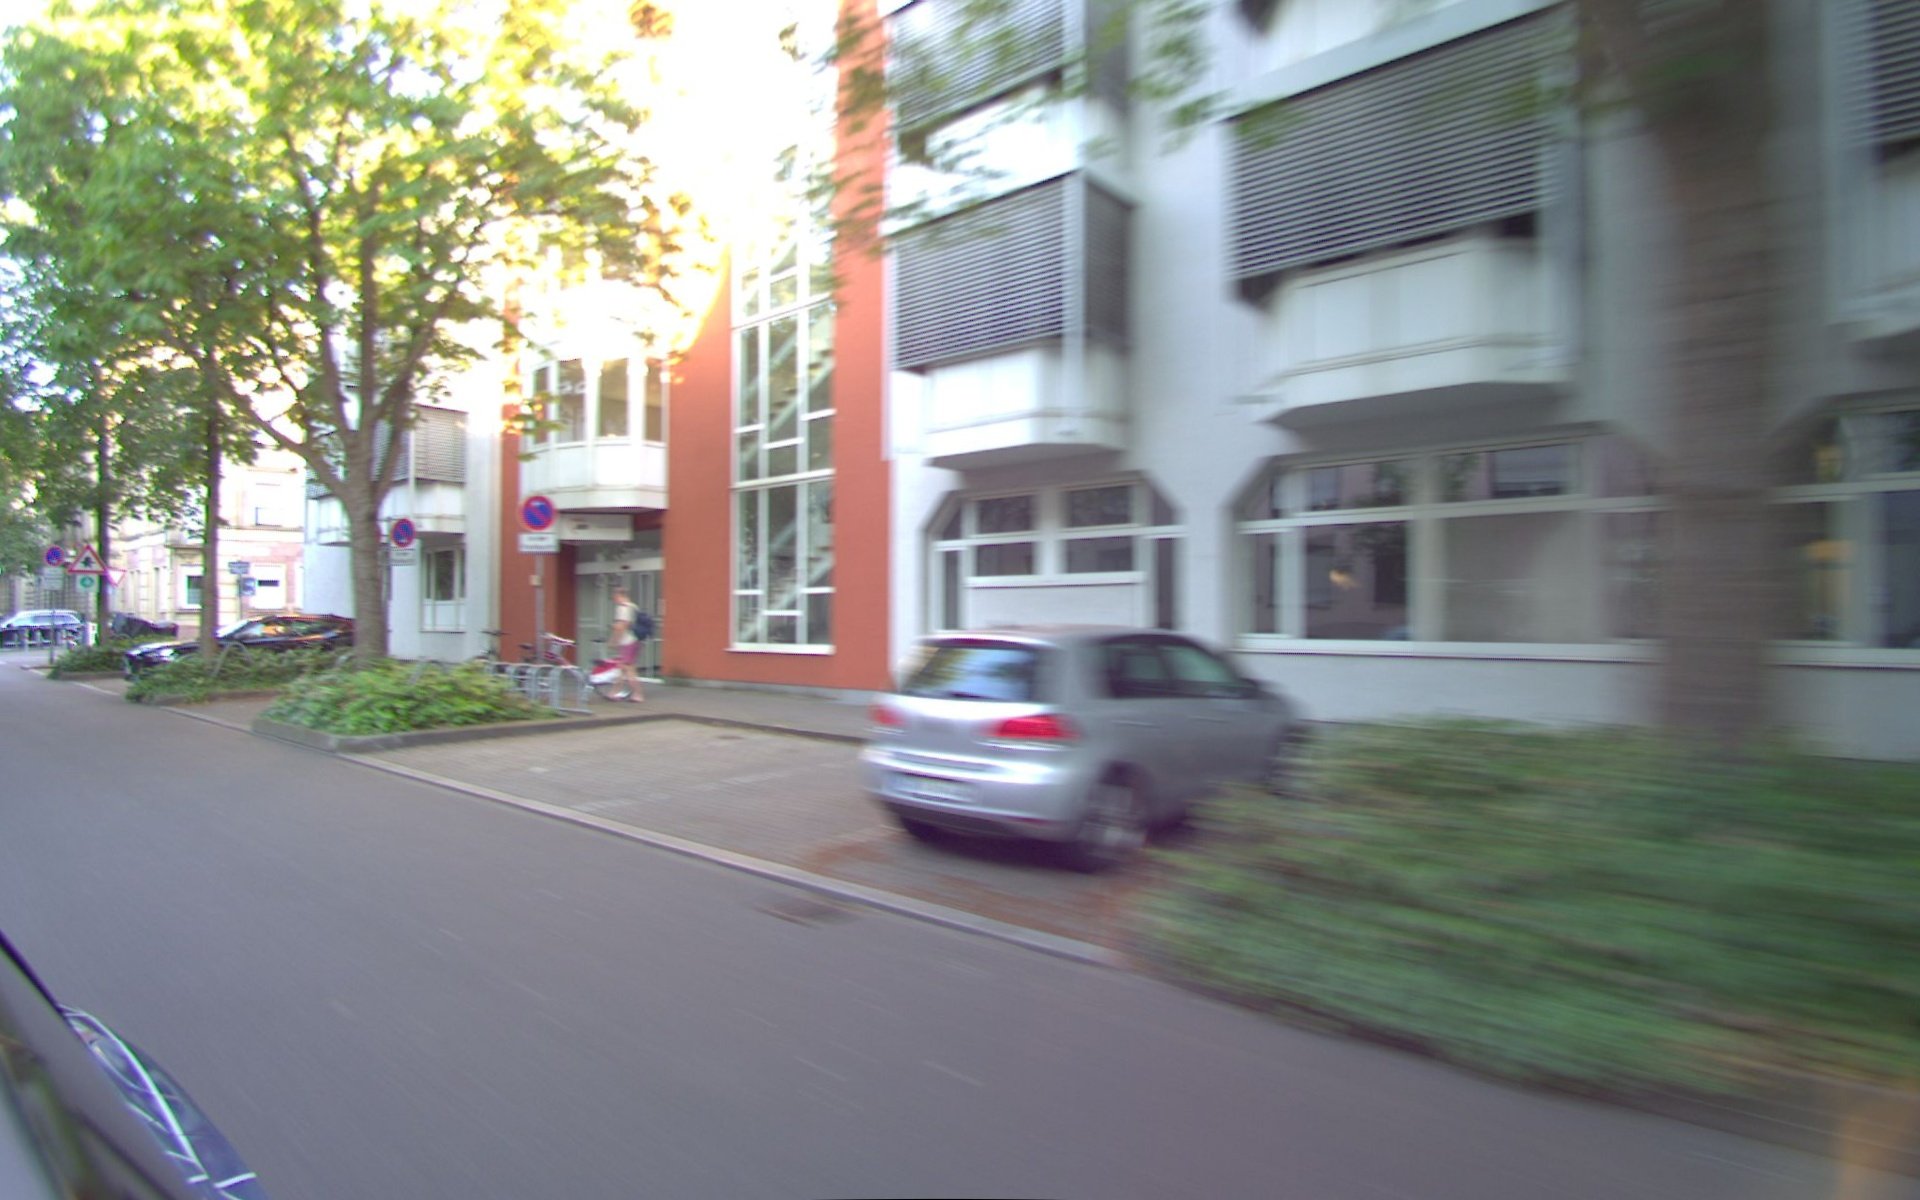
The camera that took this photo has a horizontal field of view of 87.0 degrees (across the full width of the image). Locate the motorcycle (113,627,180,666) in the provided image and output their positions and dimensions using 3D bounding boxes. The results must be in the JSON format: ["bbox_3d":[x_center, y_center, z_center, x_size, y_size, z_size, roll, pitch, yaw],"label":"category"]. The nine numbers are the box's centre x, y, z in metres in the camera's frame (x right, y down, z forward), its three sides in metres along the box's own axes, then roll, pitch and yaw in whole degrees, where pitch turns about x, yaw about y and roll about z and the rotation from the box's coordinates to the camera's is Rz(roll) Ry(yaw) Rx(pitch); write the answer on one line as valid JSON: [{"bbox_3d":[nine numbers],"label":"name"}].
[{"bbox_3d":[-25.796,1.460,32.105,0.572,1.151,1.605,-1,0,43],"label":"motorcycle"}]

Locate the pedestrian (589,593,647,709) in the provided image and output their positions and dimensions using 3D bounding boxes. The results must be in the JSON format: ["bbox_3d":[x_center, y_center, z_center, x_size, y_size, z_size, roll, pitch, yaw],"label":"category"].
[{"bbox_3d":[-5.339,0.788,15.797,0.628,1.758,0.680,1,-2,-40],"label":"pedestrian"}]

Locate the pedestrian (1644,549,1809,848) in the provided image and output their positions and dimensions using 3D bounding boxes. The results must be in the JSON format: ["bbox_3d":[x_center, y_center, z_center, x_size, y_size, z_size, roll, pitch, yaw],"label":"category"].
[{"bbox_3d":[5.692,0.680,7.511,0.839,2.029,0.930,-2,-2,44],"label":"pedestrian"}]

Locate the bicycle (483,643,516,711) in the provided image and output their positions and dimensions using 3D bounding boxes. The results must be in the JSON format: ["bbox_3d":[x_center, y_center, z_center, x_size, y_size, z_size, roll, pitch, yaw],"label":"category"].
[{"bbox_3d":[-7.413,1.213,16.286,0.448,0.995,1.761,1,-2,-25],"label":"bicycle"}]

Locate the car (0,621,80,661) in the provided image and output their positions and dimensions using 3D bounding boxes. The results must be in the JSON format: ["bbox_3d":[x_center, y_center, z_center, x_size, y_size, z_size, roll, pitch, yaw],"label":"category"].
[{"bbox_3d":[-40.924,1.779,43.970,1.674,1.645,3.808,-1,-4,41],"label":"car"}]

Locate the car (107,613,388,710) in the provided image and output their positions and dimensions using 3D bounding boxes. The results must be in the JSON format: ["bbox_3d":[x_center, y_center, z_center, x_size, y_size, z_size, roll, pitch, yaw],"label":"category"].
[{"bbox_3d":[-14.593,1.210,20.984,1.788,1.772,4.421,-1,-2,37],"label":"car"}]

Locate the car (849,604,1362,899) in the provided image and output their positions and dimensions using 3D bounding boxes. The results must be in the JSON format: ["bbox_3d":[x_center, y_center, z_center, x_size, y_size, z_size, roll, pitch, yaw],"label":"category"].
[{"bbox_3d":[1.270,0.817,7.303,1.622,1.539,4.008,-2,-1,44],"label":"car"}]

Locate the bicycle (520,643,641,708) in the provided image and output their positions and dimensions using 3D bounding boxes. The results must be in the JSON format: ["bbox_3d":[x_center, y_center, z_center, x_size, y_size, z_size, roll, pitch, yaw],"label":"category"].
[{"bbox_3d":[-5.971,1.184,15.983,1.729,0.995,0.456,0,-2,-3],"label":"bicycle"}]
